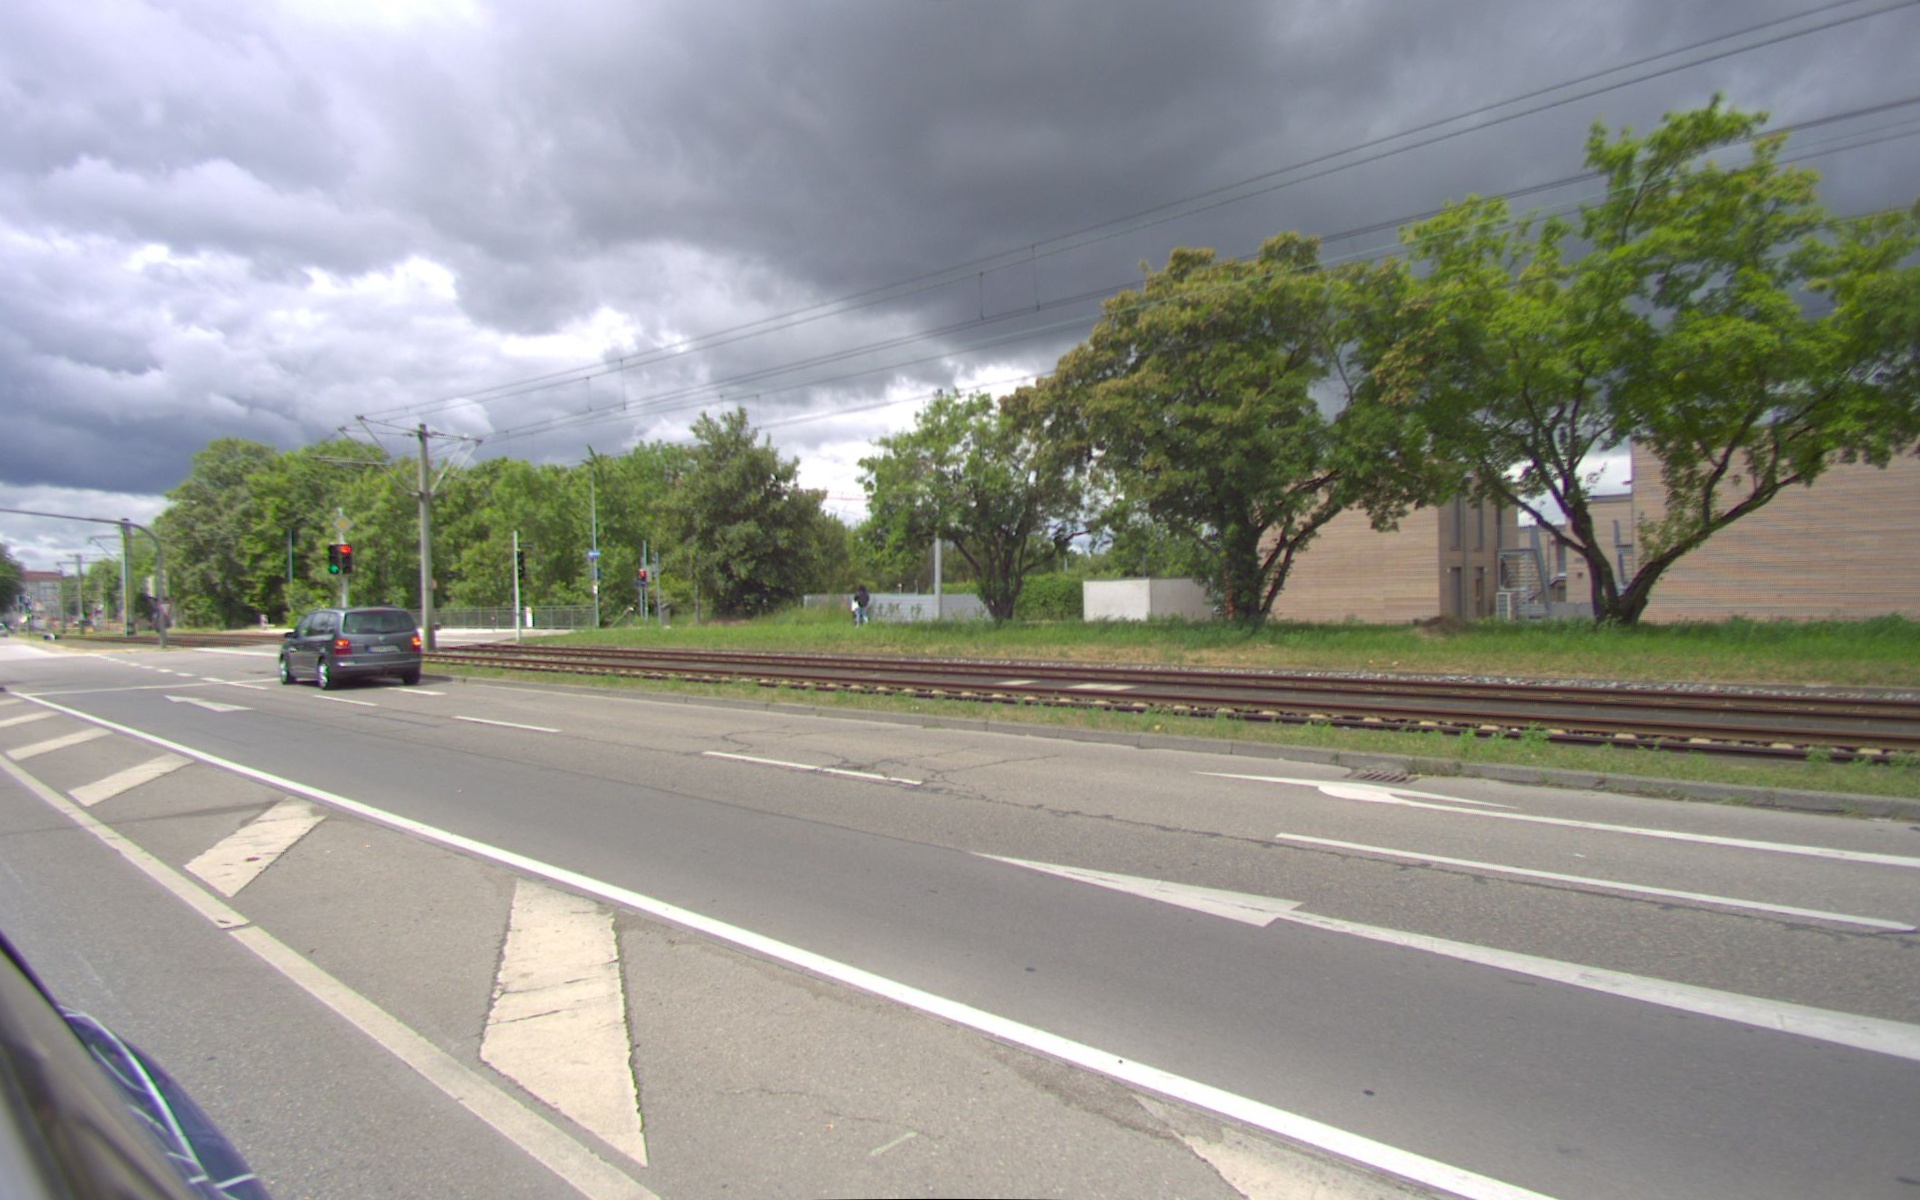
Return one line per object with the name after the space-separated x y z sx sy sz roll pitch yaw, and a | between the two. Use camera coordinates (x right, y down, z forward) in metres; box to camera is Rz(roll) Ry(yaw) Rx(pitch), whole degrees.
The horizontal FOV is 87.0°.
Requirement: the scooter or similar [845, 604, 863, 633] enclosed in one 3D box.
-4.041 0.713 38.607 0.375 1.084 0.719 -2 1 -37 | scooter or similar

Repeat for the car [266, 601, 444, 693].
-12.817 0.895 21.311 4.521 1.672 1.972 0 1 42 | car

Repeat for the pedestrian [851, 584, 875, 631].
-3.638 0.287 37.900 0.484 1.736 0.801 -2 1 -39 | pedestrian

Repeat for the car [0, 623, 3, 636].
-109.626 3.389 114.515 4.855 1.358 1.765 0 1 44 | car
